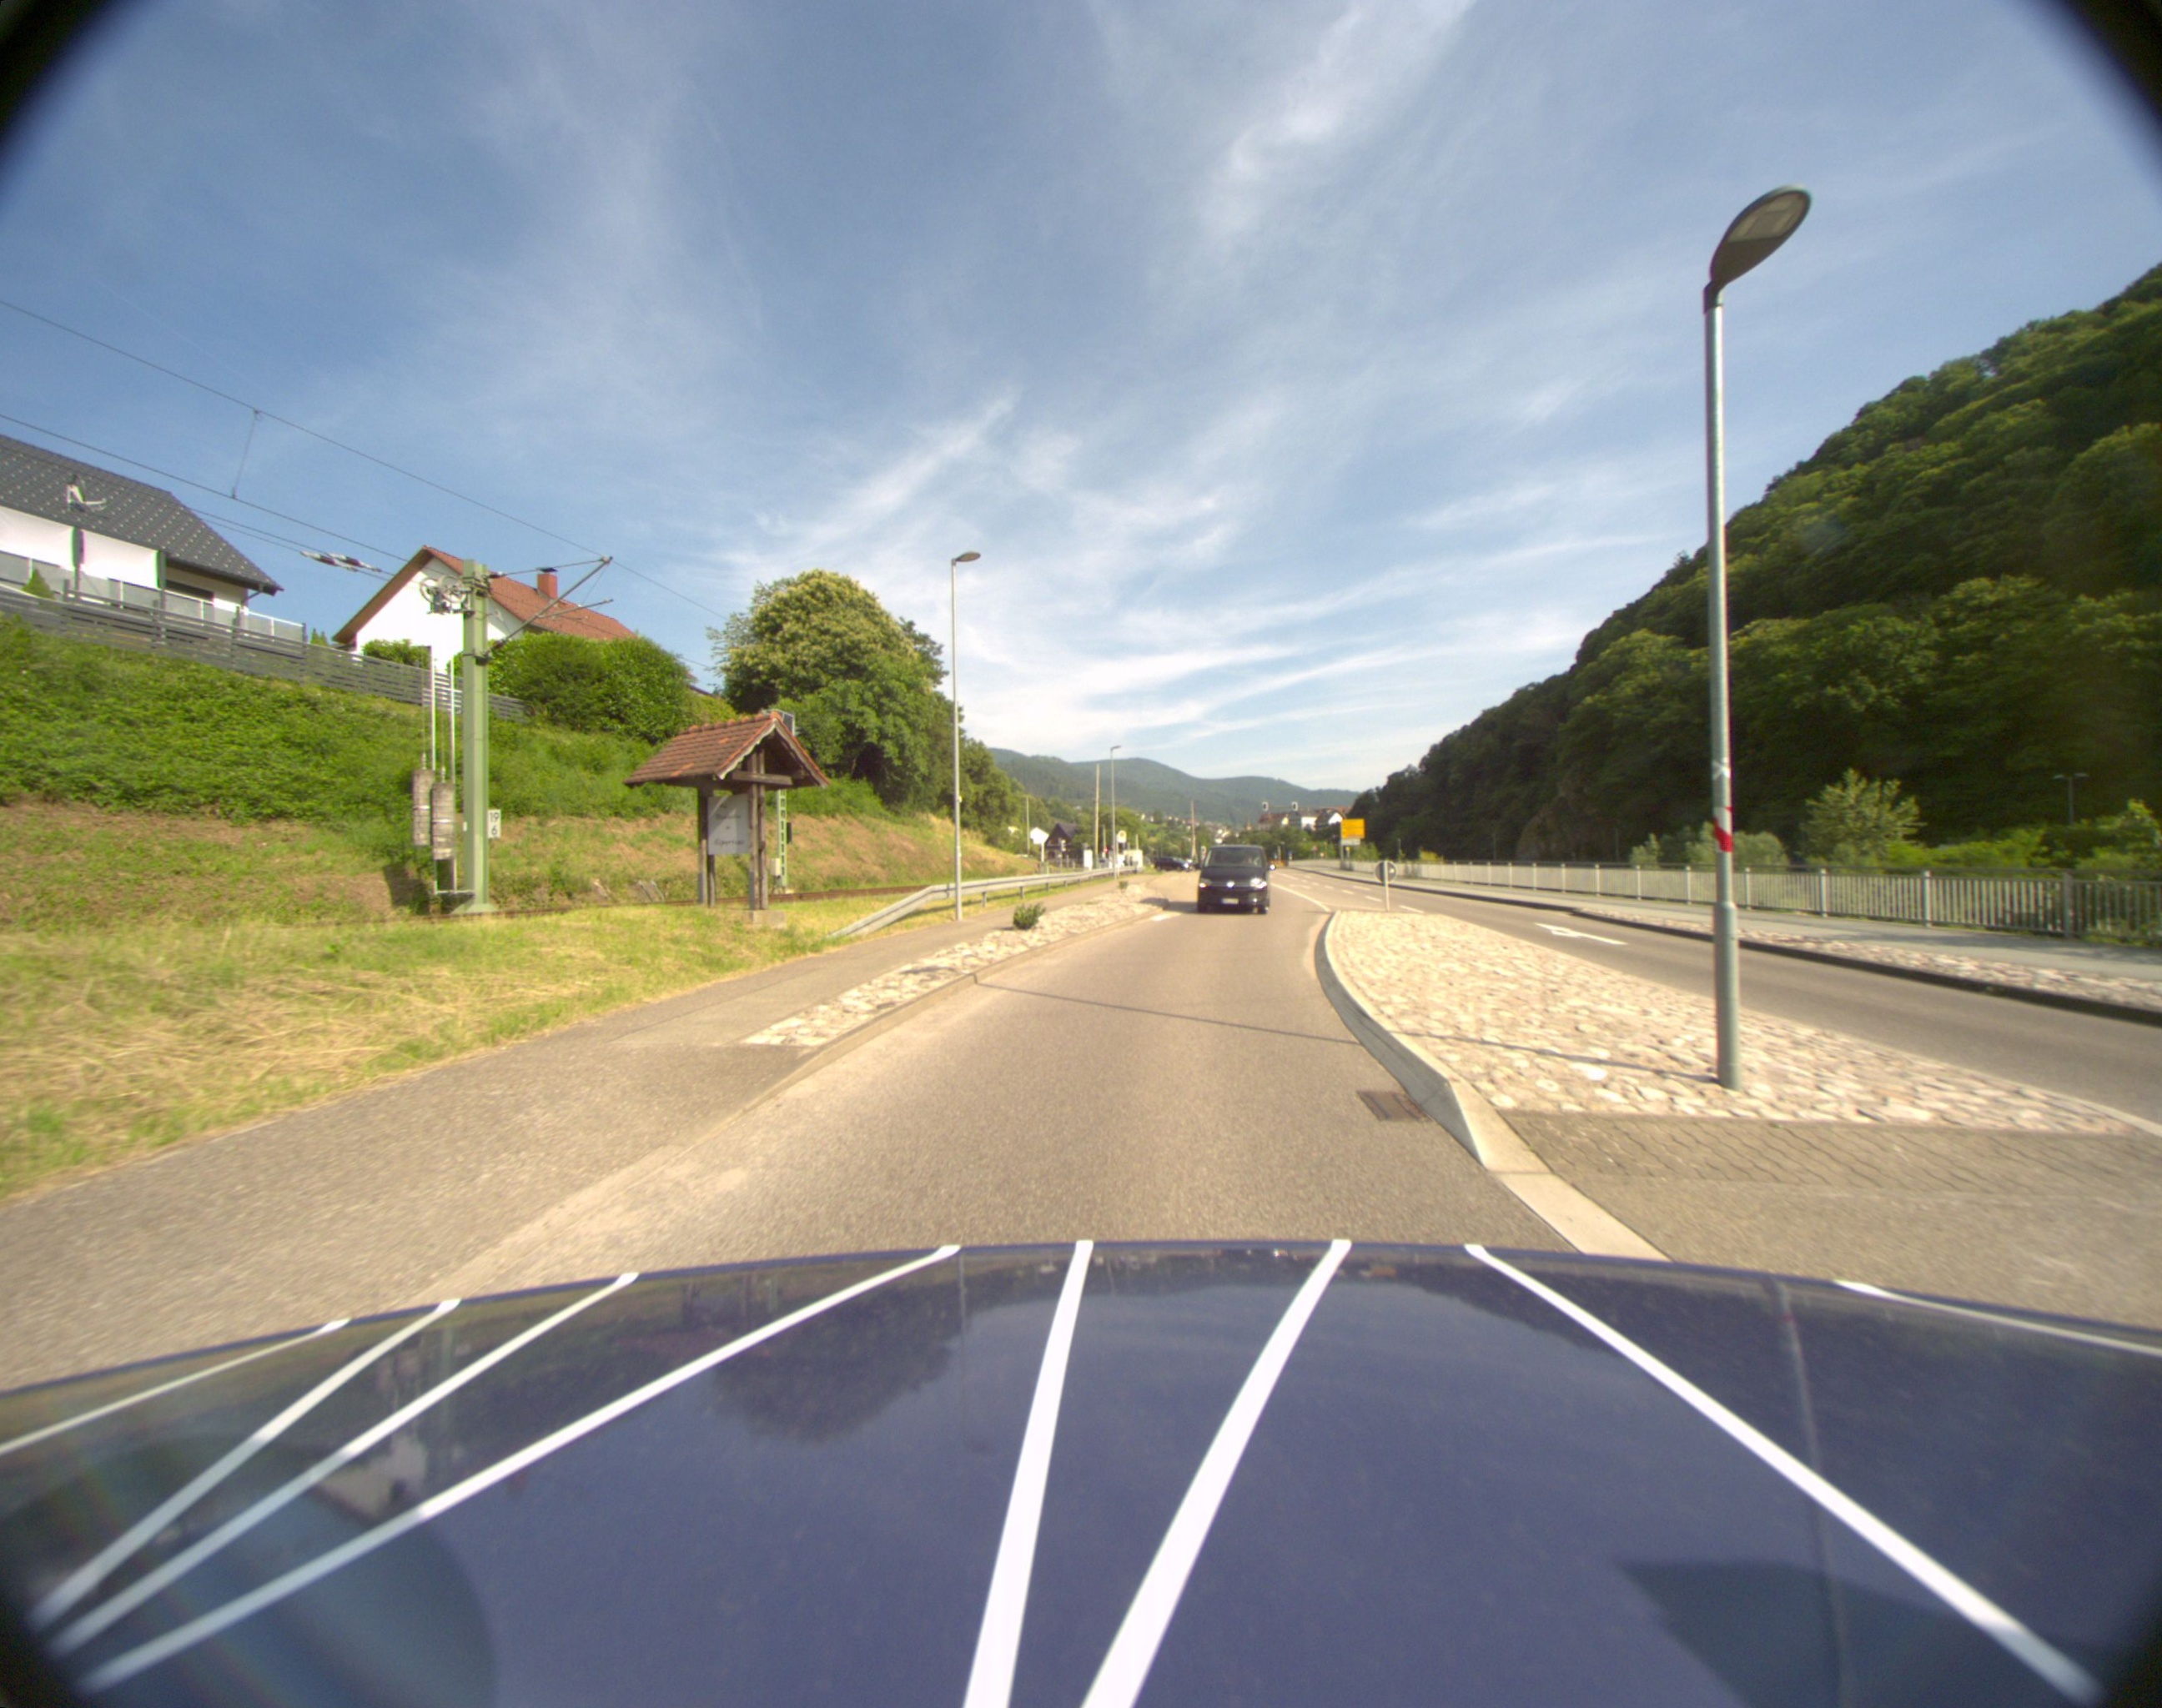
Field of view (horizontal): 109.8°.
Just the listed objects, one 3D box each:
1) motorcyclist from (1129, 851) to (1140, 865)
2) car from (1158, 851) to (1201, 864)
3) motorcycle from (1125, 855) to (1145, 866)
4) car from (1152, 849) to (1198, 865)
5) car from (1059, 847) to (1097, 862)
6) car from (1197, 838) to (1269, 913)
[{"bbox_3d":[6.092,0.431,86.551,0.907,1.587,0.767,-1,0,28],"label":"motorcyclist"},{"bbox_3d":[11.610,0.437,89.541,4.732,1.461,1.844,1,1,14],"label":"car"},{"bbox_3d":[6.116,0.723,86.545,2.094,1.247,0.800,-1,0,29],"label":"motorcycle"},{"bbox_3d":[10.249,0.327,83.146,4.727,1.649,1.935,1,-3,43],"label":"car"},{"bbox_3d":[-0.347,0.108,91.250,4.116,1.677,1.838,-1,0,25],"label":"car"},{"bbox_3d":[4.561,0.545,22.373,1.863,1.936,4.643,1,1,14],"label":"car"}]
